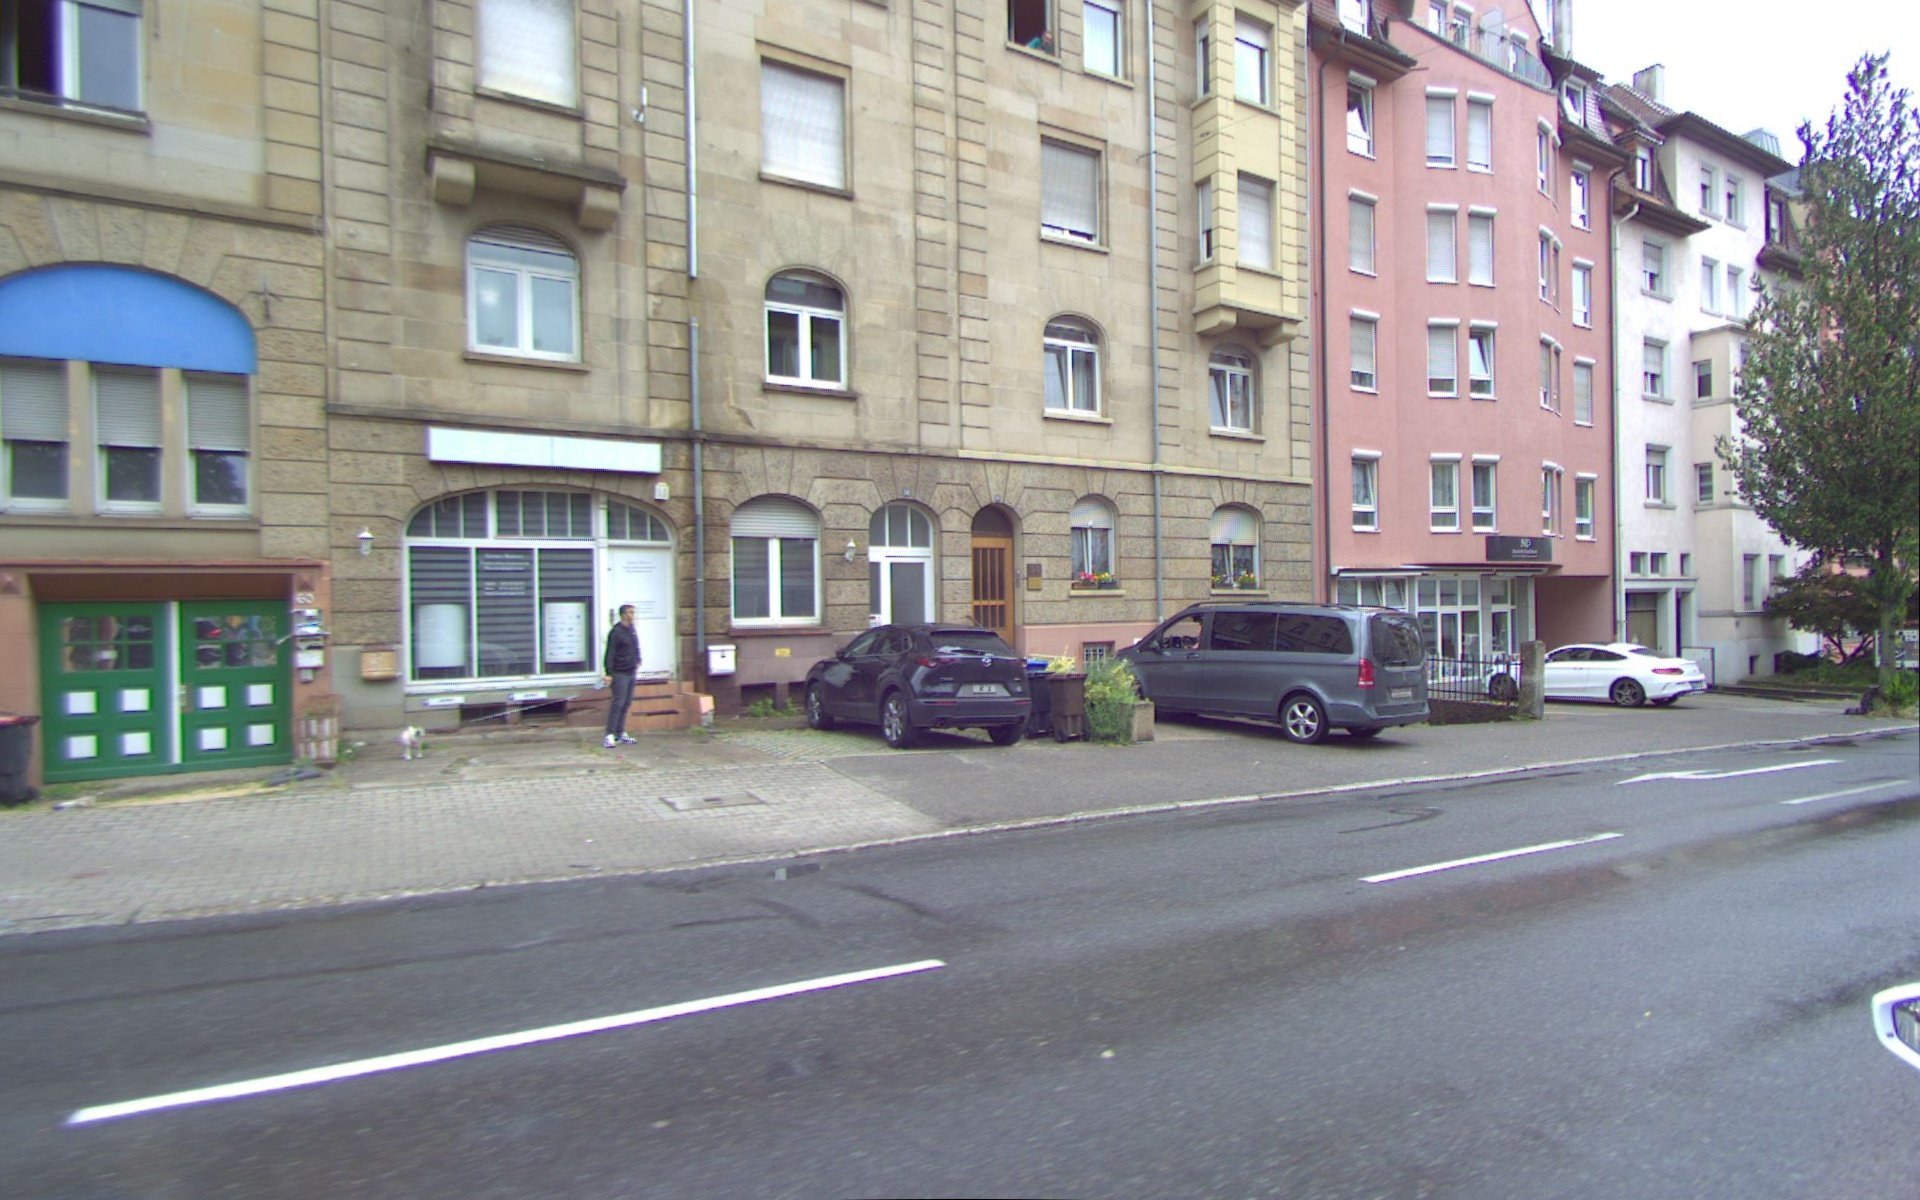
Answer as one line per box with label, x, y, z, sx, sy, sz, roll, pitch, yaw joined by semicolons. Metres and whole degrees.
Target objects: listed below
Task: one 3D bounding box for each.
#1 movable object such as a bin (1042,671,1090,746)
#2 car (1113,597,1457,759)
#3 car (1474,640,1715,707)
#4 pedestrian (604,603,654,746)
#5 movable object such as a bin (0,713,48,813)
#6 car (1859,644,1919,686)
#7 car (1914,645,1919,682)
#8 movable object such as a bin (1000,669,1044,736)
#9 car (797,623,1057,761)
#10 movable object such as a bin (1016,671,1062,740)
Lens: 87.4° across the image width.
movable object such as a bin;1.452;1.472;13.767;0.435;0.963;0.503;1;0;-25
car;4.670;0.992;15.081;1.848;1.965;4.635;1;1;-40
car;14.773;1.660;23.671;1.747;1.419;4.526;1;-3;-30
pedestrian;-4.289;0.952;13.018;0.557;1.801;0.476;1;0;-22
movable object such as a bin;-9.864;1.686;10.451;0.412;0.963;0.473;1;0;-25
car;34.246;2.278;35.173;1.776;1.476;3.853;2;-3;-37
car;39.399;2.445;38.091;1.773;1.470;4.407;2;-3;-32
movable object such as a bin;0.900;1.485;14.680;0.435;0.916;0.503;1;0;-25
car;-0.625;1.107;13.814;1.851;1.531;4.127;1;-1;-30
movable object such as a bin;1.114;1.476;14.192;0.435;0.916;0.503;1;0;-25
